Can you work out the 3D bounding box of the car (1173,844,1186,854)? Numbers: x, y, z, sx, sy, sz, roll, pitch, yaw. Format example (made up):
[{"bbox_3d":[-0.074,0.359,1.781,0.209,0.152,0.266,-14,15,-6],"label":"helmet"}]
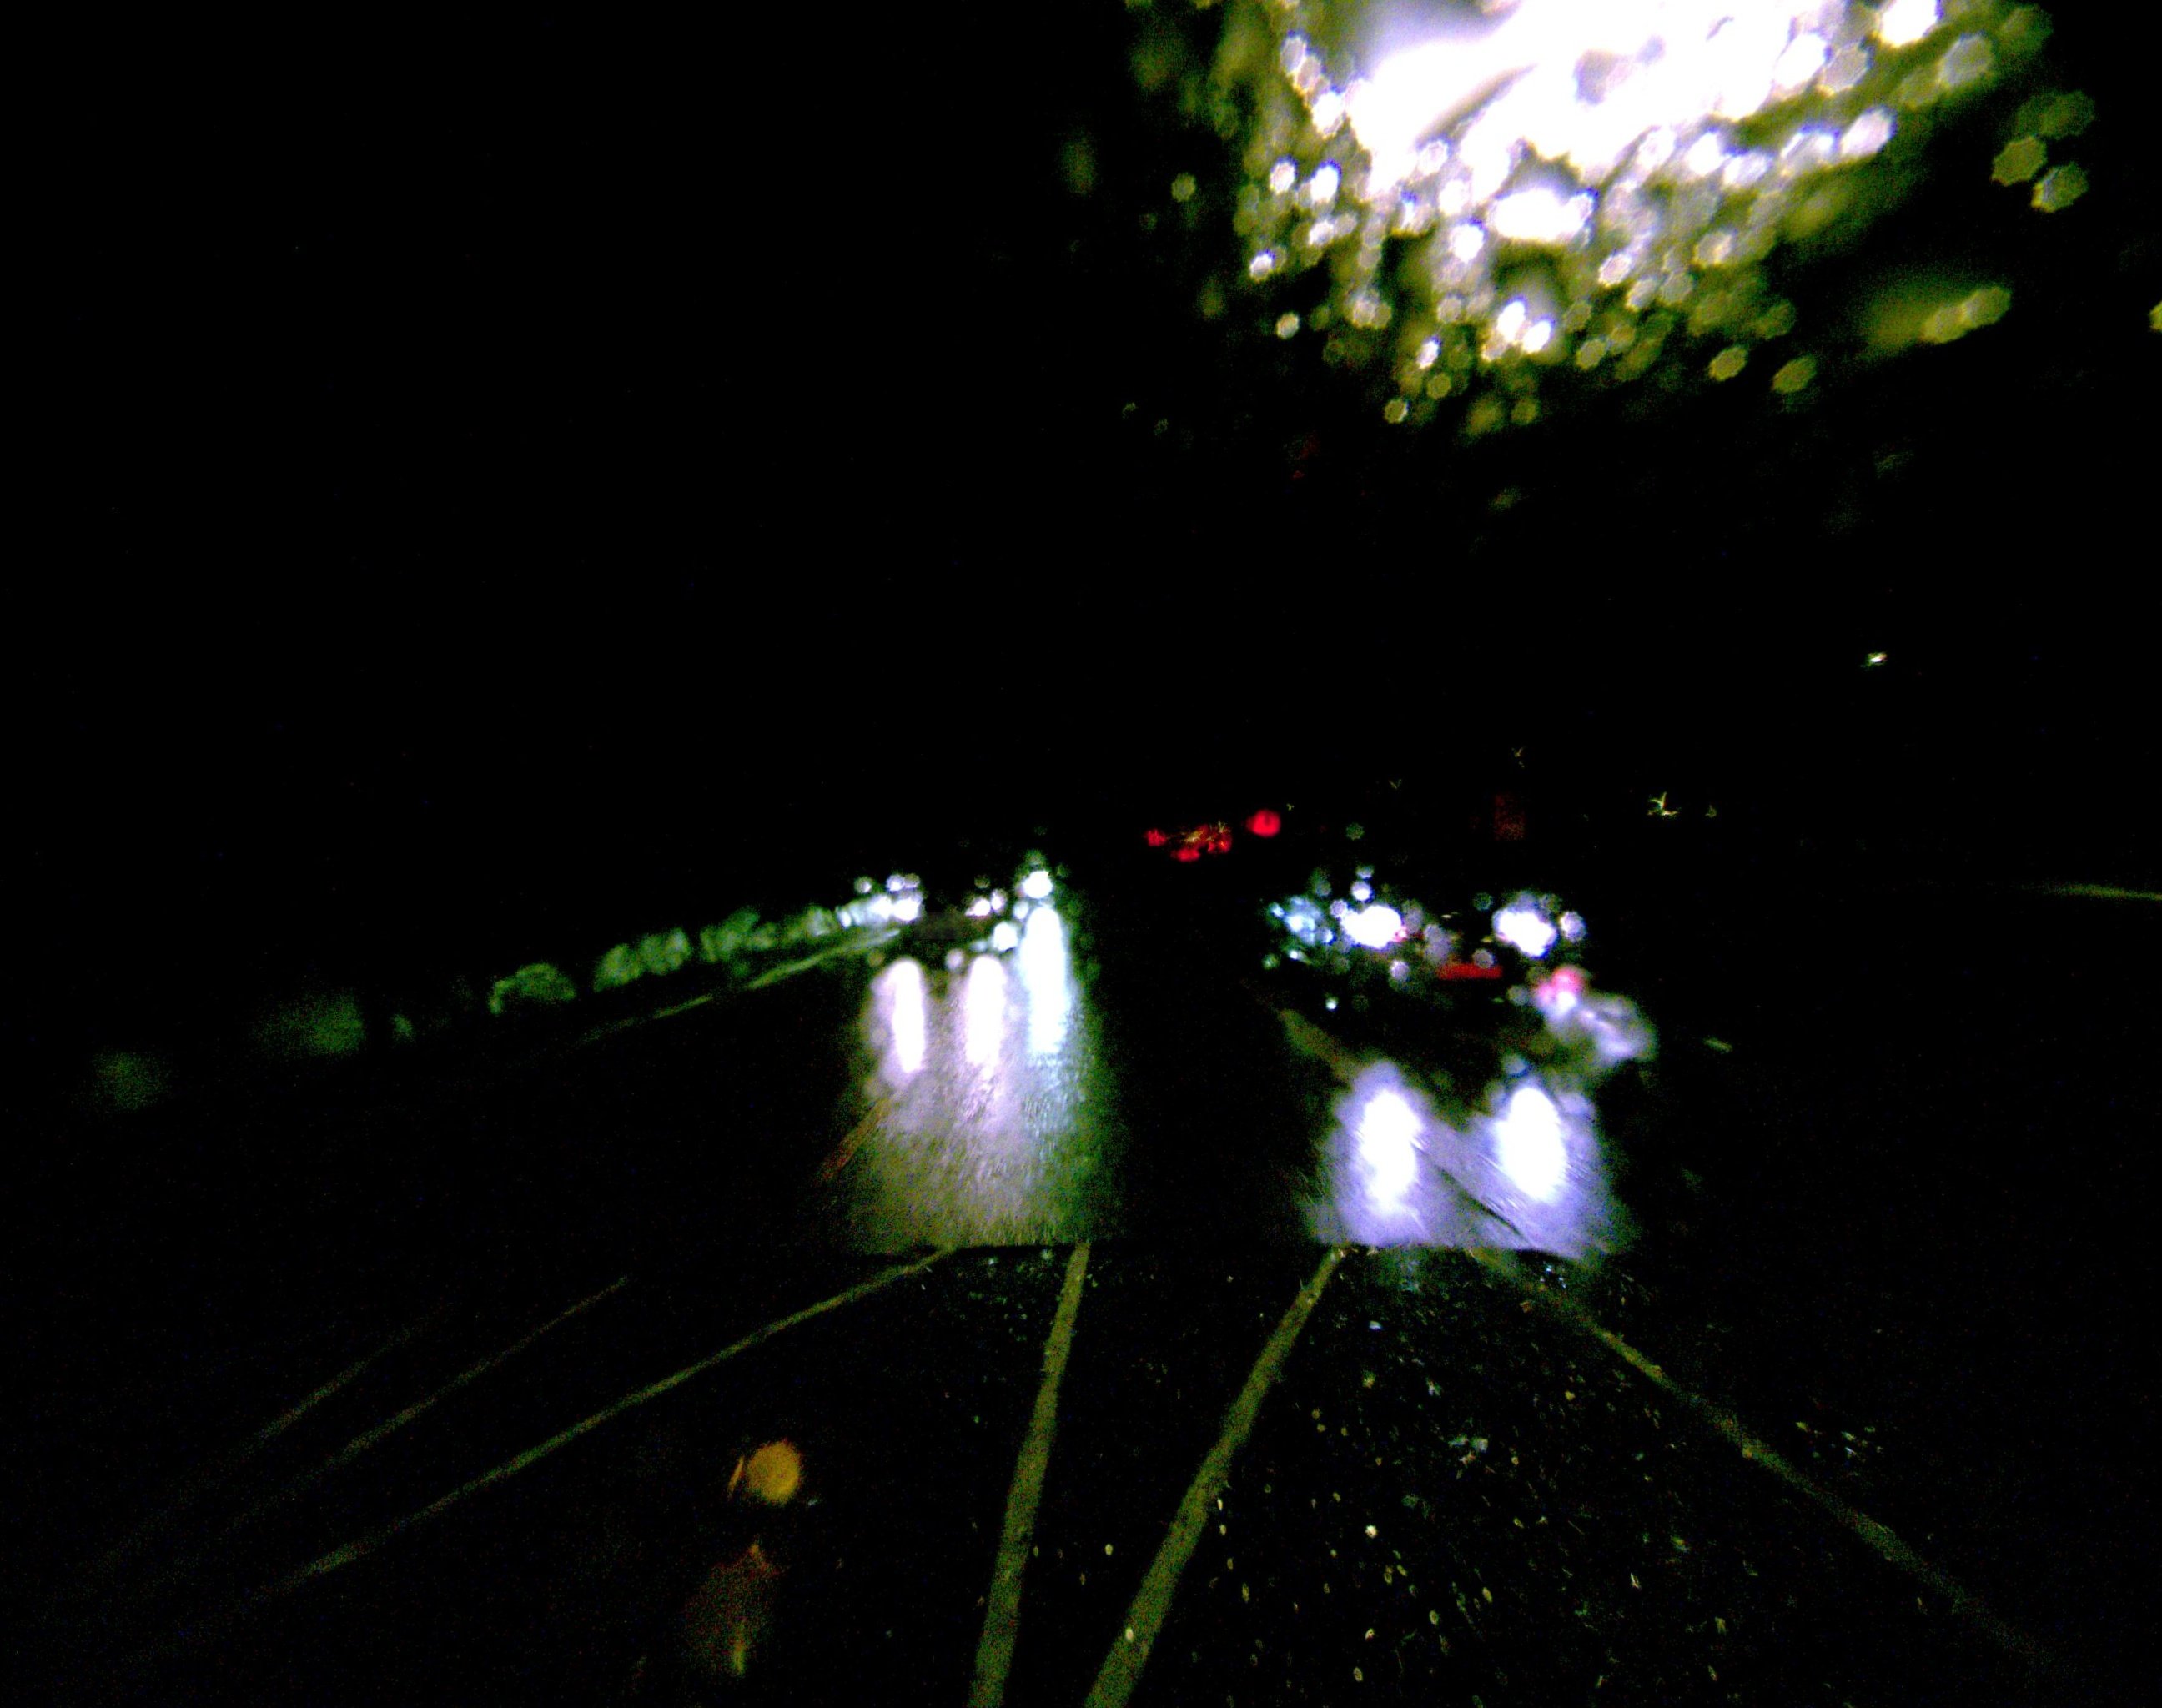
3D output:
[{"bbox_3d":[17.157,-0.862,131.948,1.806,1.579,4.031,-3,1,2],"label":"car"}]

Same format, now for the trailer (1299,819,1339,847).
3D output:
[{"bbox_3d":[47.365,-4.204,151.867,3.980,4.984,14.836,-6,1,5],"label":"trailer"}]

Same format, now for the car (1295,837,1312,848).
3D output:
[{"bbox_3d":[36.873,-1.922,125.863,1.790,1.684,4.219,-4,0,4],"label":"car"}]

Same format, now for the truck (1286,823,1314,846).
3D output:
[{"bbox_3d":[48.579,-4.390,168.958,3.447,4.584,10.213,-6,1,5],"label":"truck"}]

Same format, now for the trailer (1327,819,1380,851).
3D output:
[{"bbox_3d":[44.824,-3.179,125.899,3.980,4.583,15.516,-6,1,5],"label":"trailer"}]

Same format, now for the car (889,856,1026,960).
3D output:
[{"bbox_3d":[-2.275,0.940,15.139,1.790,1.684,4.219,-2,0,3],"label":"car"}]

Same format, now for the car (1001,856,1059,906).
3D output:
[{"bbox_3d":[-1.857,0.961,28.892,1.788,1.638,4.436,-3,0,1],"label":"car"}]

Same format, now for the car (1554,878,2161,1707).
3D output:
[{"bbox_3d":[2.955,0.885,1.205,1.788,1.502,4.436,-1,0,2],"label":"car"}]

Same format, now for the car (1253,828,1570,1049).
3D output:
[{"bbox_3d":[3.198,0.691,8.442,1.788,1.771,4.437,-2,0,4],"label":"car"}]

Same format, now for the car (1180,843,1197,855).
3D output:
[{"bbox_3d":[15.856,-0.721,112.265,1.765,1.632,4.652,-3,0,1],"label":"car"}]

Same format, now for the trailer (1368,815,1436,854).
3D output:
[{"bbox_3d":[43.581,-2.696,103.913,3.980,4.583,14.248,-6,1,5],"label":"trailer"}]
